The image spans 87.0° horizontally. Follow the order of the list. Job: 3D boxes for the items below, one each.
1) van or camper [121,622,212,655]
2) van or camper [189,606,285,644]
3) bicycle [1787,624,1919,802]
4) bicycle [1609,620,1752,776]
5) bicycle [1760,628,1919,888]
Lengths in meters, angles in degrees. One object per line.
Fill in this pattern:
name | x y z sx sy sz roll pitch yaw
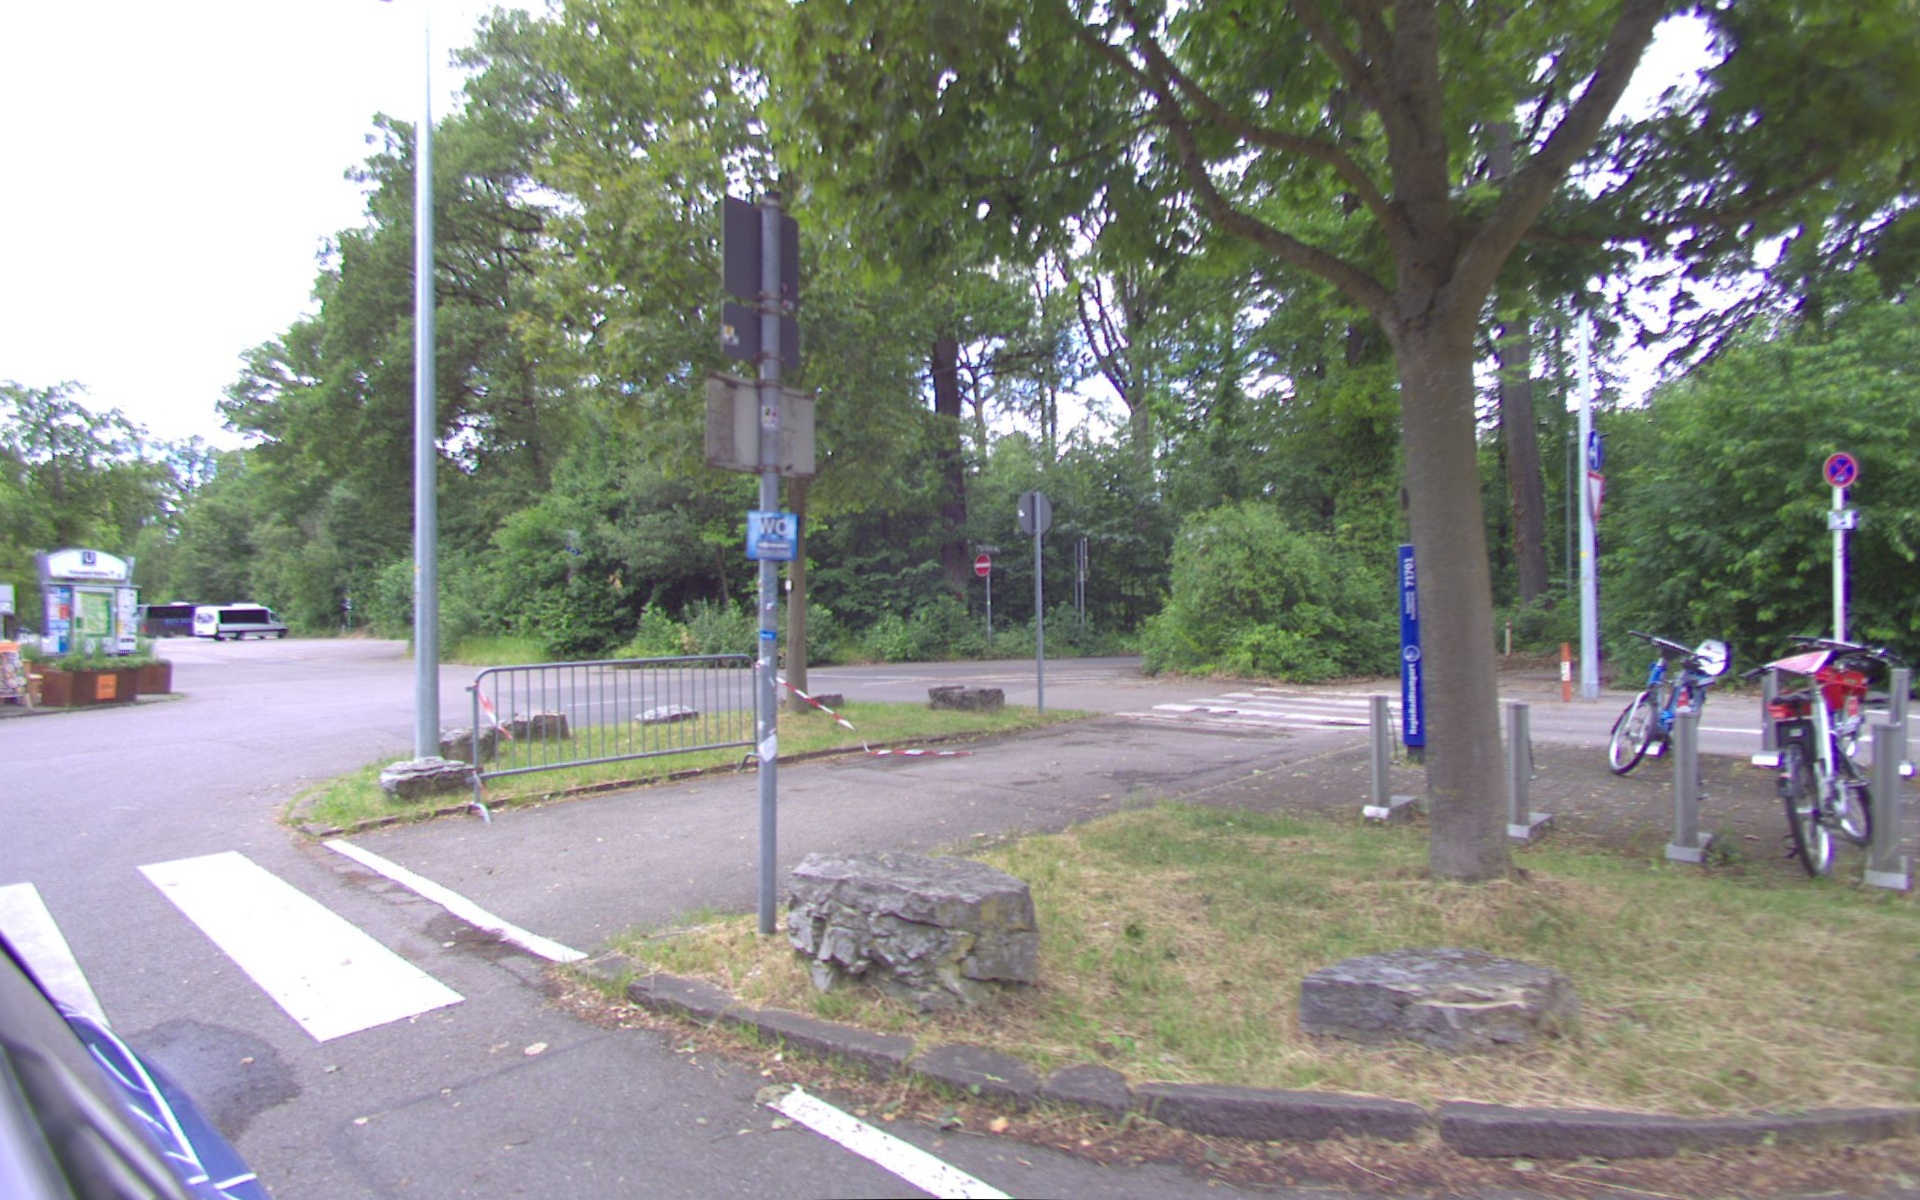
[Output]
van or camper | -75.318 3.584 96.265 2.179 2.871 7.321 -1 0 8
van or camper | -57.333 1.908 80.517 2.042 2.871 7.332 -1 0 4
bicycle | 6.541 0.758 7.359 1.658 1.120 0.507 -1 -1 -40
bicycle | 5.918 0.749 8.282 1.670 1.120 0.483 -1 -1 -38
bicycle | 4.674 0.733 5.310 1.659 1.120 0.483 -1 -1 -43
